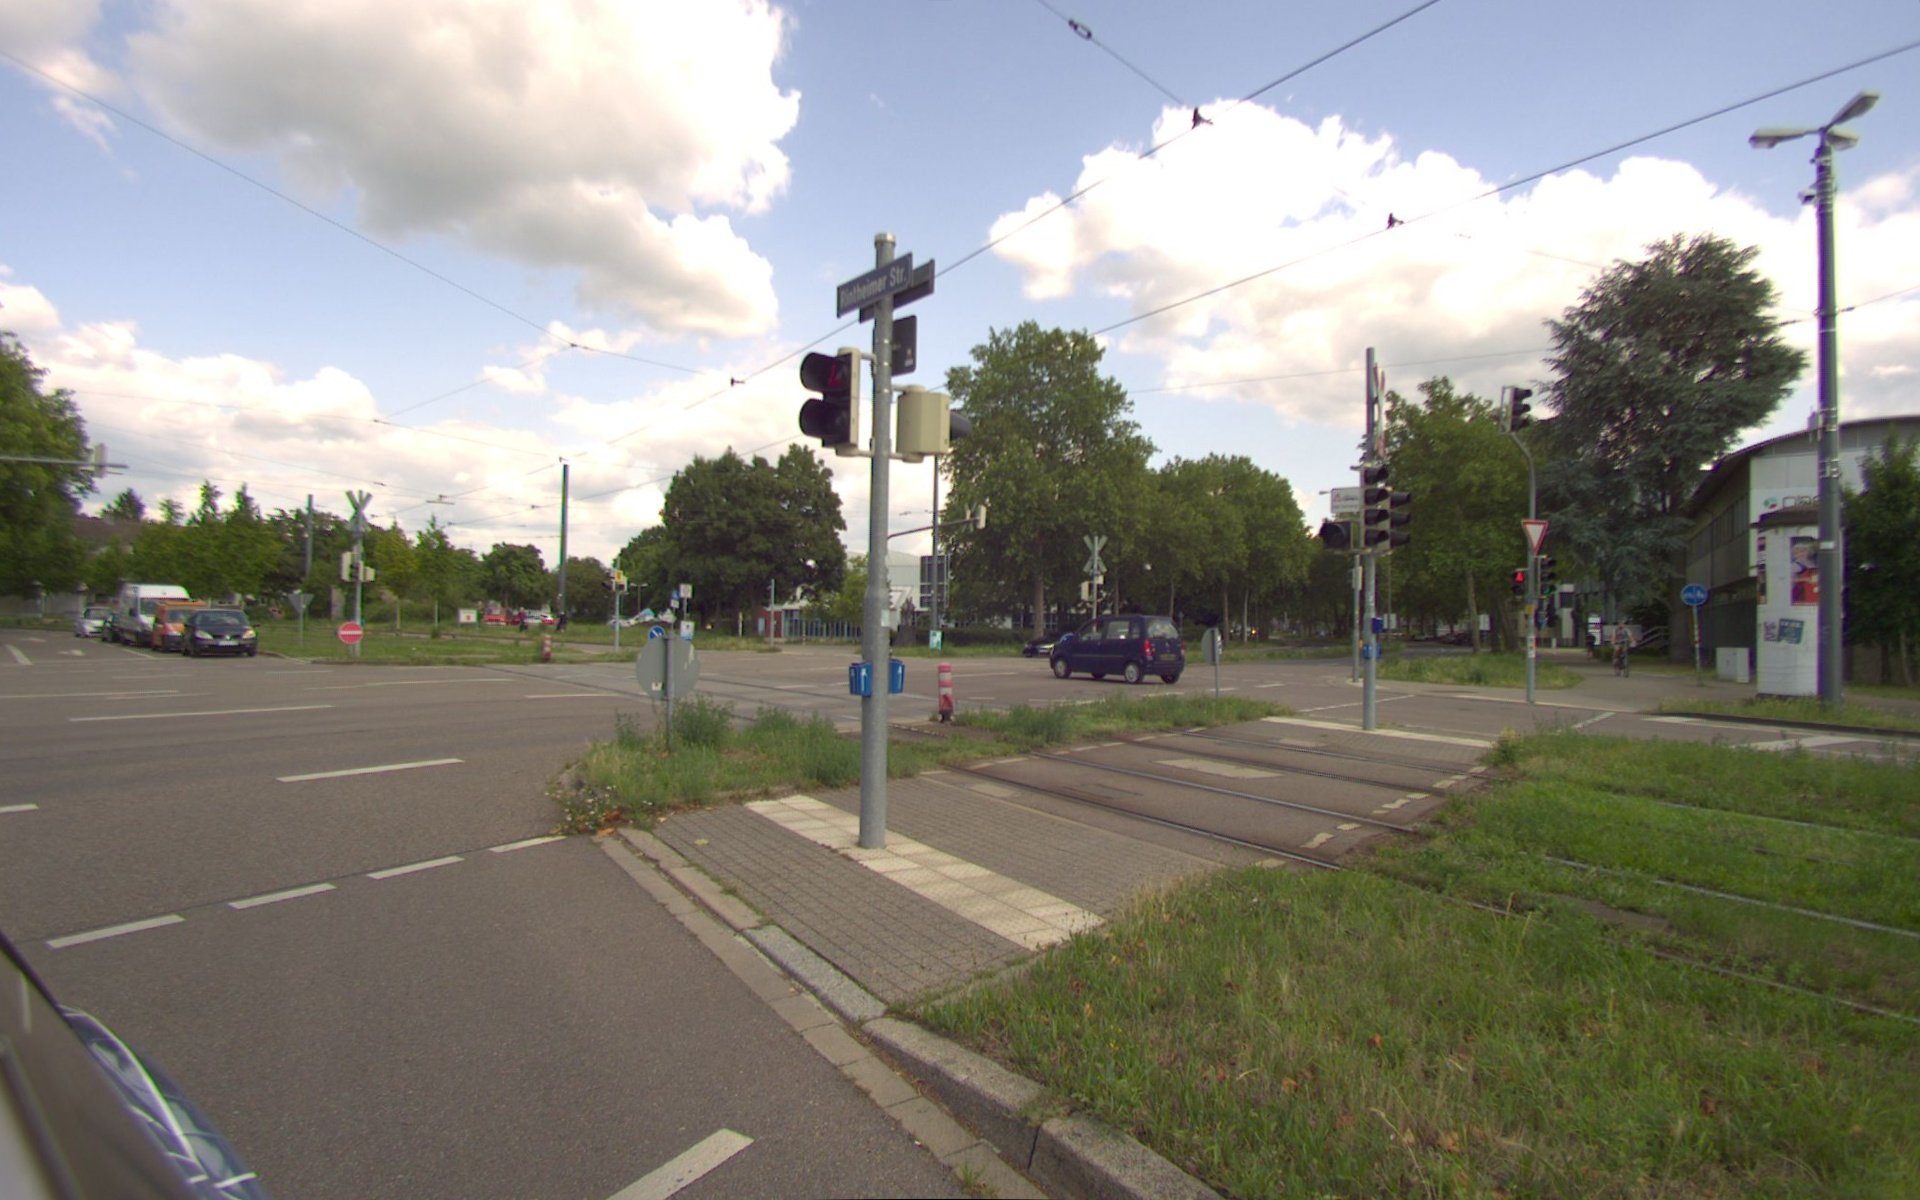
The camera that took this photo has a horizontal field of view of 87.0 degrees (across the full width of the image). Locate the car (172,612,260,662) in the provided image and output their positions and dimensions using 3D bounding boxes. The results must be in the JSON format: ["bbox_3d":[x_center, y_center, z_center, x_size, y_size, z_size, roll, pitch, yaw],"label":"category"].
[{"bbox_3d":[-24.780,1.179,33.673,1.770,1.551,4.002,1,-1,-45],"label":"car"}]

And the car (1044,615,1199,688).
[{"bbox_3d":[3.969,1.235,25.261,1.756,1.638,3.502,2,-1,-40],"label":"car"}]

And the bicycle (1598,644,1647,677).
[{"bbox_3d":[22.073,2.001,33.740,0.798,1.068,2.057,-1,-3,18],"label":"bicycle"}]

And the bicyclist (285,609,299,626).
[{"bbox_3d":[-61.271,1.603,92.789,0.830,1.481,0.795,-2,-3,33],"label":"bicyclist"}]

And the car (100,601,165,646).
[{"bbox_3d":[-38.016,1.062,46.438,4.369,1.950,1.770,0,-1,44],"label":"car"}]

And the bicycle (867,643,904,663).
[{"bbox_3d":[-2.994,2.108,40.476,0.637,0.723,1.809,2,-2,-34],"label":"bicycle"}]

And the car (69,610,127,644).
[{"bbox_3d":[-44.738,1.365,52.494,4.235,1.657,1.842,0,-1,43],"label":"car"}]

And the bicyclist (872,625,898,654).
[{"bbox_3d":[-3.019,1.578,40.544,0.631,1.121,0.931,2,-2,-35],"label":"bicyclist"}]

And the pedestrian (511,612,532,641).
[{"bbox_3d":[-28.205,1.700,65.091,1.002,1.882,0.896,0,-2,41],"label":"pedestrian"}]

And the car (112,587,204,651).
[{"bbox_3d":[-33.791,0.795,42.562,5.726,2.526,2.208,0,-1,43],"label":"car"}]

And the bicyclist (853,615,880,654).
[{"bbox_3d":[-3.619,1.341,39.112,0.614,1.468,0.931,2,-2,-33],"label":"bicyclist"}]

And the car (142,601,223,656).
[{"bbox_3d":[-29.162,1.036,37.924,4.370,1.950,1.770,-1,-1,44],"label":"car"}]

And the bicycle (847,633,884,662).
[{"bbox_3d":[-3.673,1.836,39.170,0.637,1.088,1.810,2,-2,-33],"label":"bicycle"}]

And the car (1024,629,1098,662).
[{"bbox_3d":[4.968,2.208,49.535,1.698,1.535,3.804,0,-2,41],"label":"car"}]

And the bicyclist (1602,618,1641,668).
[{"bbox_3d":[22.097,1.430,33.843,0.797,1.647,1.012,-1,-2,18],"label":"bicyclist"}]
